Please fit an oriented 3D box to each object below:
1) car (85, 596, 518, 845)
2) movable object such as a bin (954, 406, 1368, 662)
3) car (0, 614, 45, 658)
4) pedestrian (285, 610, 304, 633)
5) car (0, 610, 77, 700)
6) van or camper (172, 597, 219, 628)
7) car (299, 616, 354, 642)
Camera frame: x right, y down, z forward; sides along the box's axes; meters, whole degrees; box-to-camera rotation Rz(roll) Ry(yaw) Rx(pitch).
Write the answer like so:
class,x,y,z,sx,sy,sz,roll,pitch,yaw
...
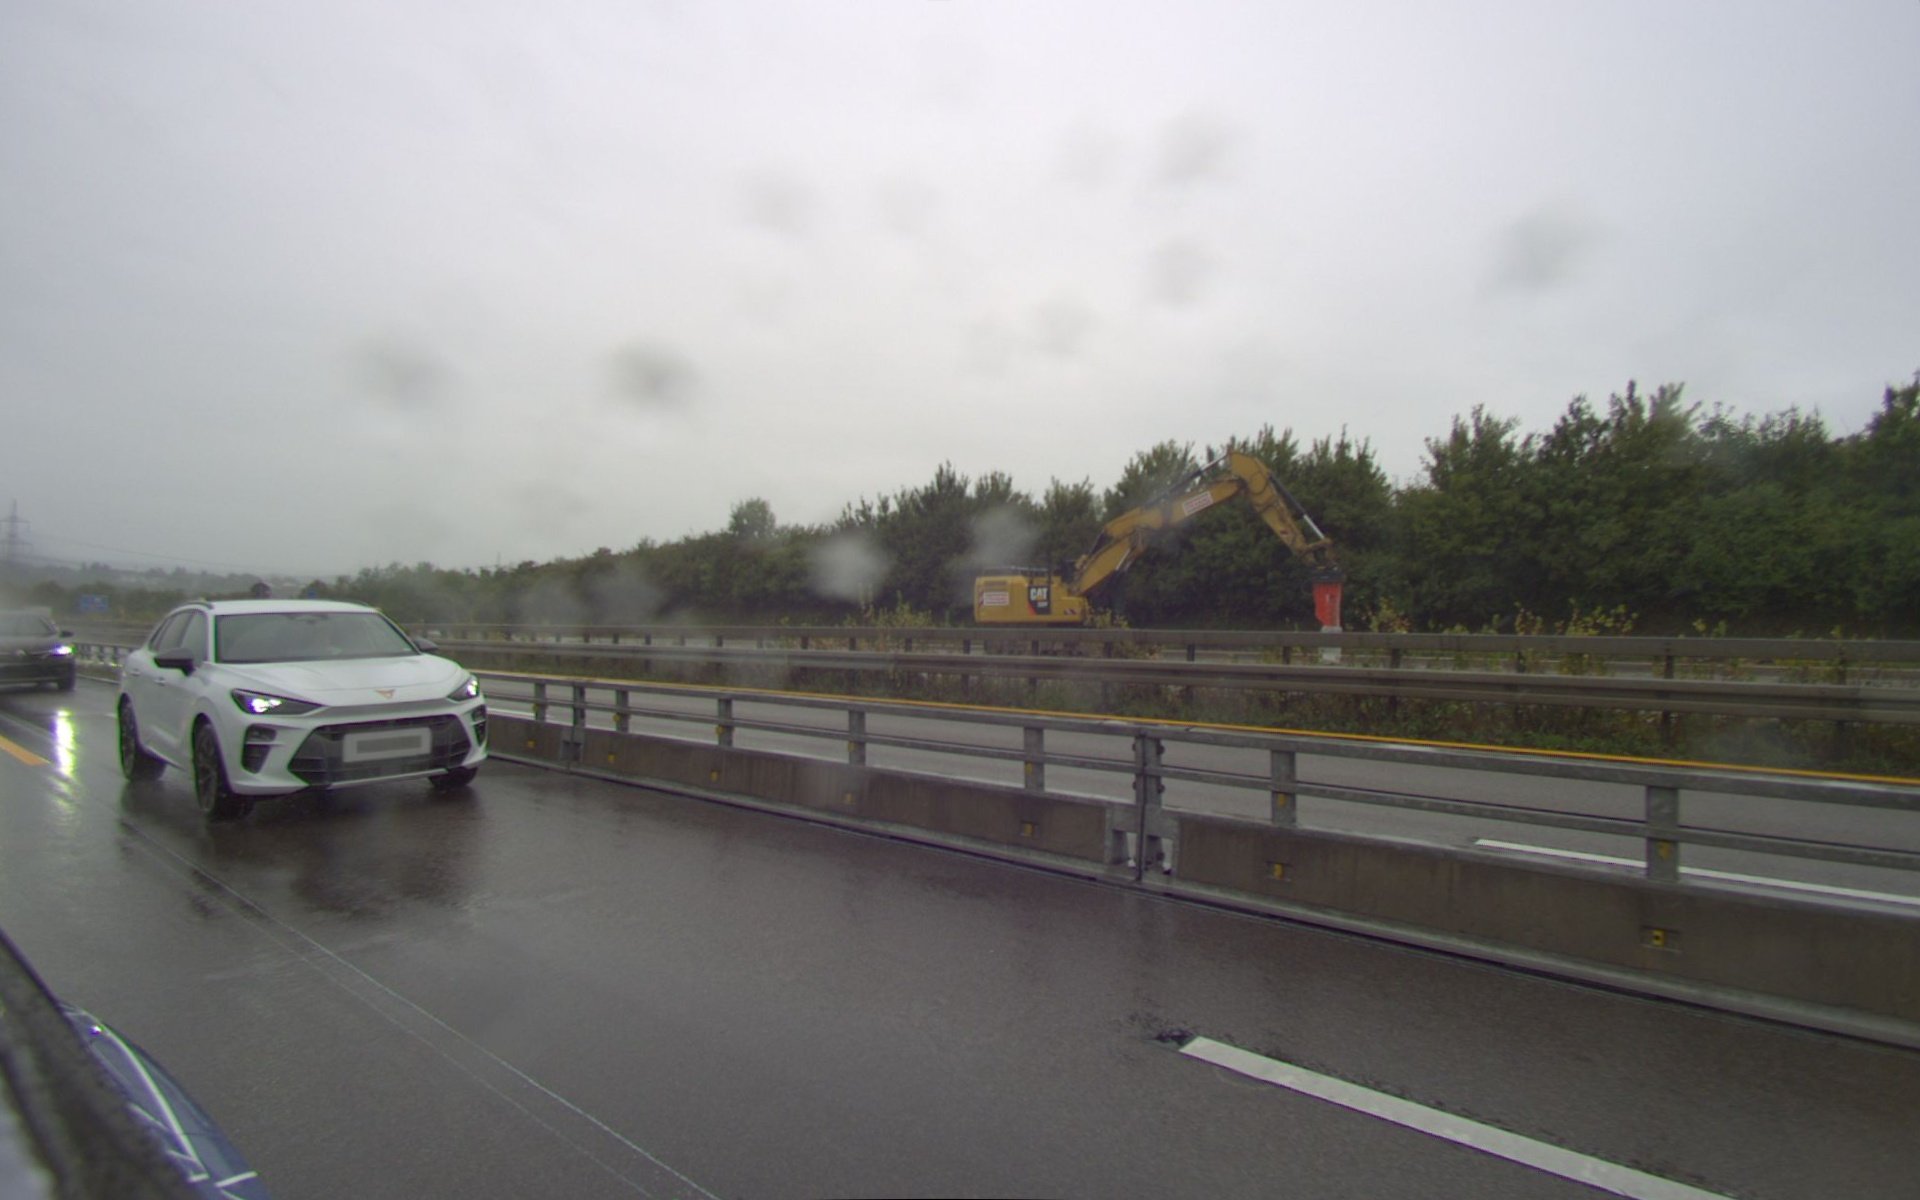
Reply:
class,x,y,z,sx,sy,sz,roll,pitch,yaw
car,-5.898,0.788,8.758,5.005,1.562,1.907,-1,-1,42
movable object such as a bin,5.261,-1.546,28.871,11.047,5.959,4.125,-1,1,44
car,-37.824,1.400,40.122,4.181,1.605,1.783,-1,1,40
pedestrian,-61.825,1.992,93.989,1.124,2.029,1.095,-1,0,36
car,-19.567,1.044,20.419,5.194,1.640,2.042,-1,-1,42
van or camper,-113.337,1.823,149.959,8.492,4.356,3.336,-1,1,37
car,-50.641,2.291,80.806,5.358,1.981,2.074,-1,-1,38
